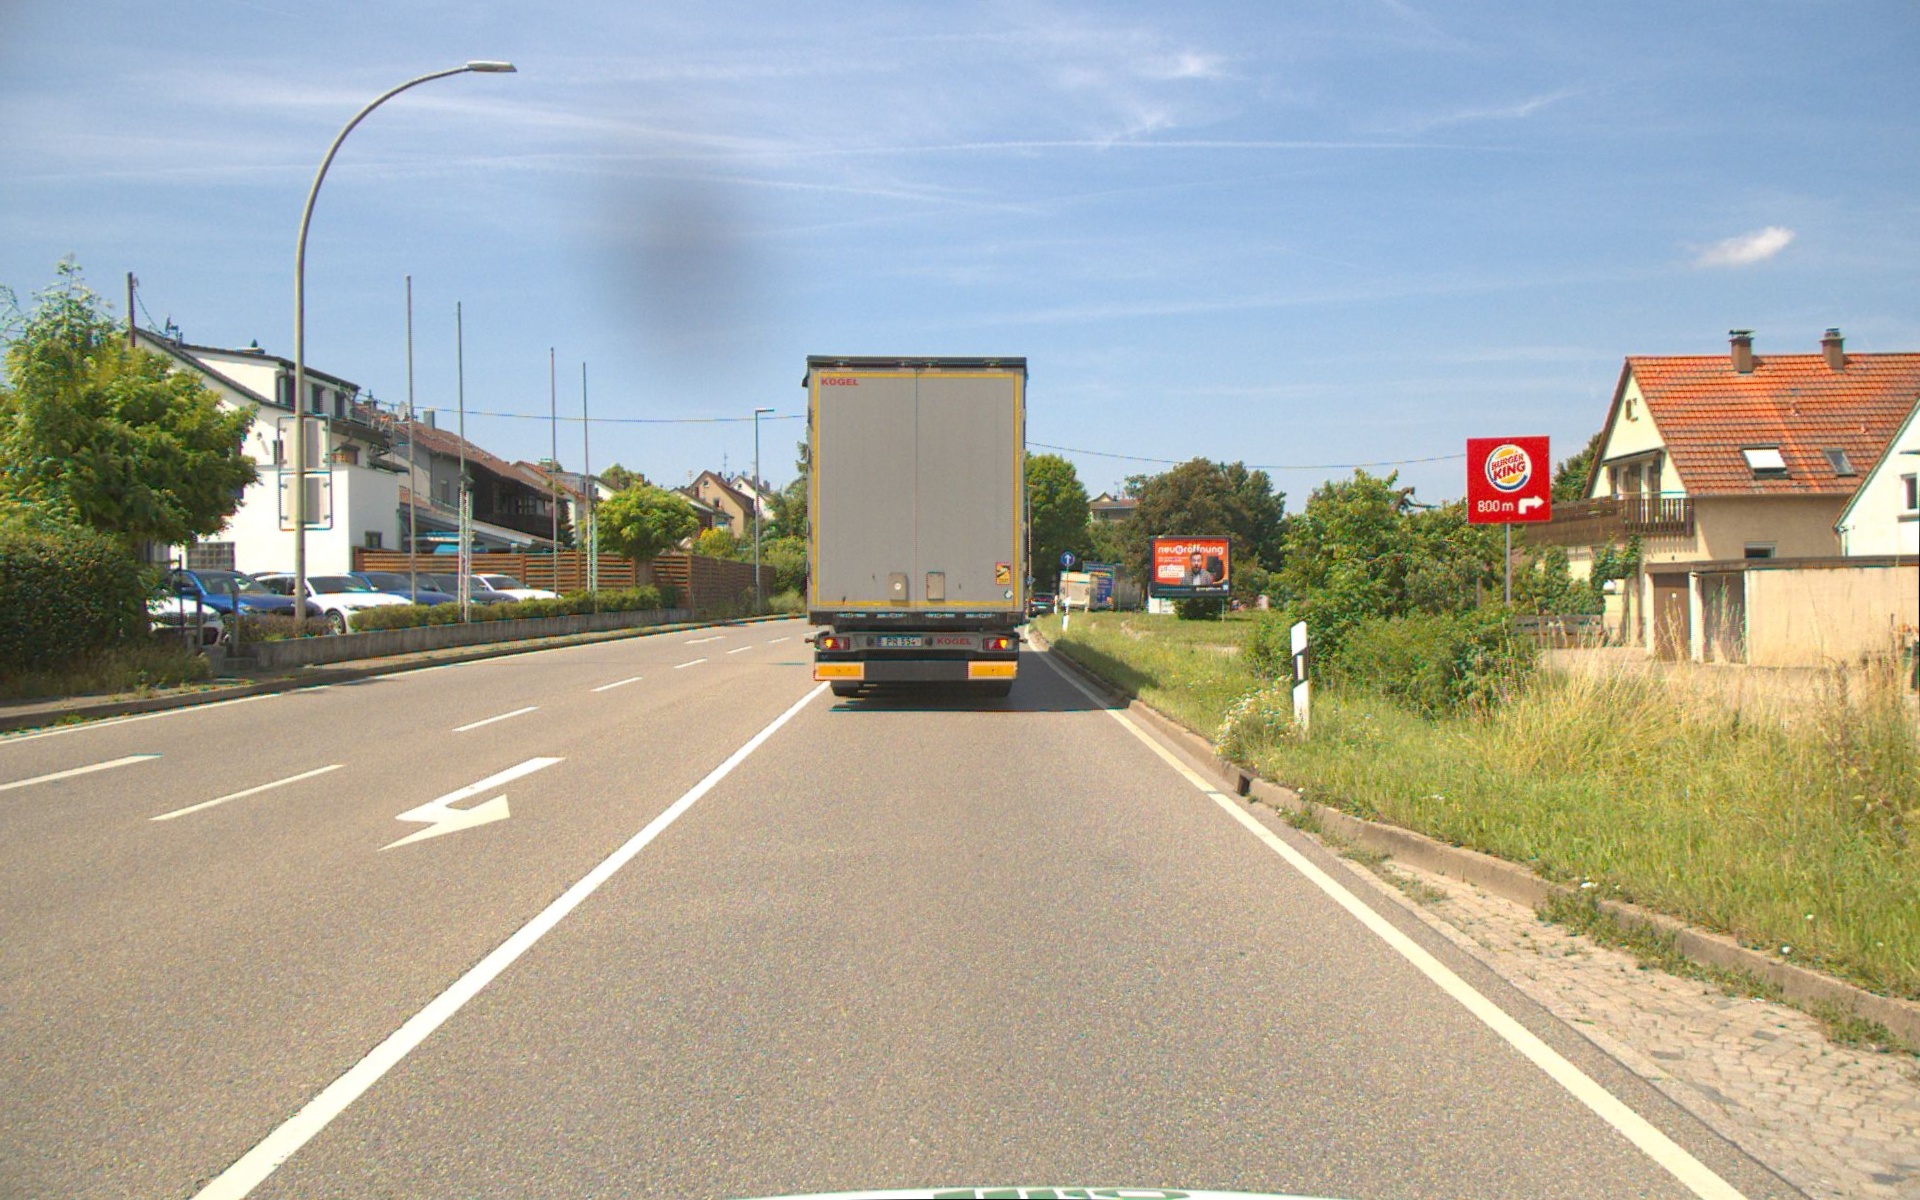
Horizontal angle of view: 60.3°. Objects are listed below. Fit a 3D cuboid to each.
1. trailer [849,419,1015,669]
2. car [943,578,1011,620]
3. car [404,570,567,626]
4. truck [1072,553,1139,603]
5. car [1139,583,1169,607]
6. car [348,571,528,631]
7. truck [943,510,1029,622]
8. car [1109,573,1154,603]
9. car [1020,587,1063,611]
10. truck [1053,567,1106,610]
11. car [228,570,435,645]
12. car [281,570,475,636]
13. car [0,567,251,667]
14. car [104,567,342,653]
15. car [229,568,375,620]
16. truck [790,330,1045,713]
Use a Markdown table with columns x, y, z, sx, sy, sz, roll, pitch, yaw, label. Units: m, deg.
| x | y | z | sx | sy | sz | roll | pitch | yaw | label |
| --- | --- | --- | --- | --- | --- | --- | --- | --- | --- |
| -0.467 | -0.986 | 31.082 | 2.767 | 4.182 | 6.544 | 0 | 1 | 0 | trailer |
| 0.621 | -0.030 | 56.549 | 1.780 | 1.370 | 3.850 | 1 | 0 | 9 | car |
| -13.335 | -0.062 | 46.444 | 4.243 | 1.473 | 1.855 | 1 | 0 | 26 | car |
| 11.200 | -1.666 | 126.255 | 3.360 | 3.667 | 9.360 | 0 | 1 | 16 | truck |
| 17.247 | -0.403 | 147.030 | 1.951 | 2.049 | 4.002 | 1 | 0 | 17 | car |
| -13.415 | 0.018 | 42.499 | 4.243 | 1.473 | 1.897 | 1 | 0 | 26 | car |
| 1.363 | -1.297 | 73.153 | 2.702 | 4.364 | 16.424 | 1 | 0 | 4 | truck |
| 13.969 | -0.982 | 134.620 | 2.478 | 2.317 | 6.385 | 1 | 1 | 17 | car |
| 4.962 | -0.052 | 100.323 | 1.951 | 1.400 | 4.003 | 1 | 0 | 13 | car |
| 8.310 | -0.741 | 114.227 | 2.489 | 2.852 | 6.036 | 1 | 0 | 15 | truck |
| -13.360 | 0.123 | 35.085 | 4.421 | 1.473 | 1.852 | 1 | 1 | 33 | car |
| -13.796 | 0.058 | 39.191 | 4.242 | 1.473 | 1.856 | 1 | 0 | 25 | car |
| -13.671 | 0.241 | 26.590 | 4.480 | 1.473 | 1.854 | 1 | 0 | 30 | car |
| -13.619 | 0.168 | 30.509 | 4.247 | 1.473 | 1.854 | 1 | 0 | 30 | car |
| -20.599 | -0.195 | 51.787 | 3.902 | 1.536 | 1.836 | 1 | 1 | 14 | car |
| -0.468 | -0.915 | 24.115 | 2.764 | 4.200 | 11.443 | 1 | 0 | 0 | truck |
